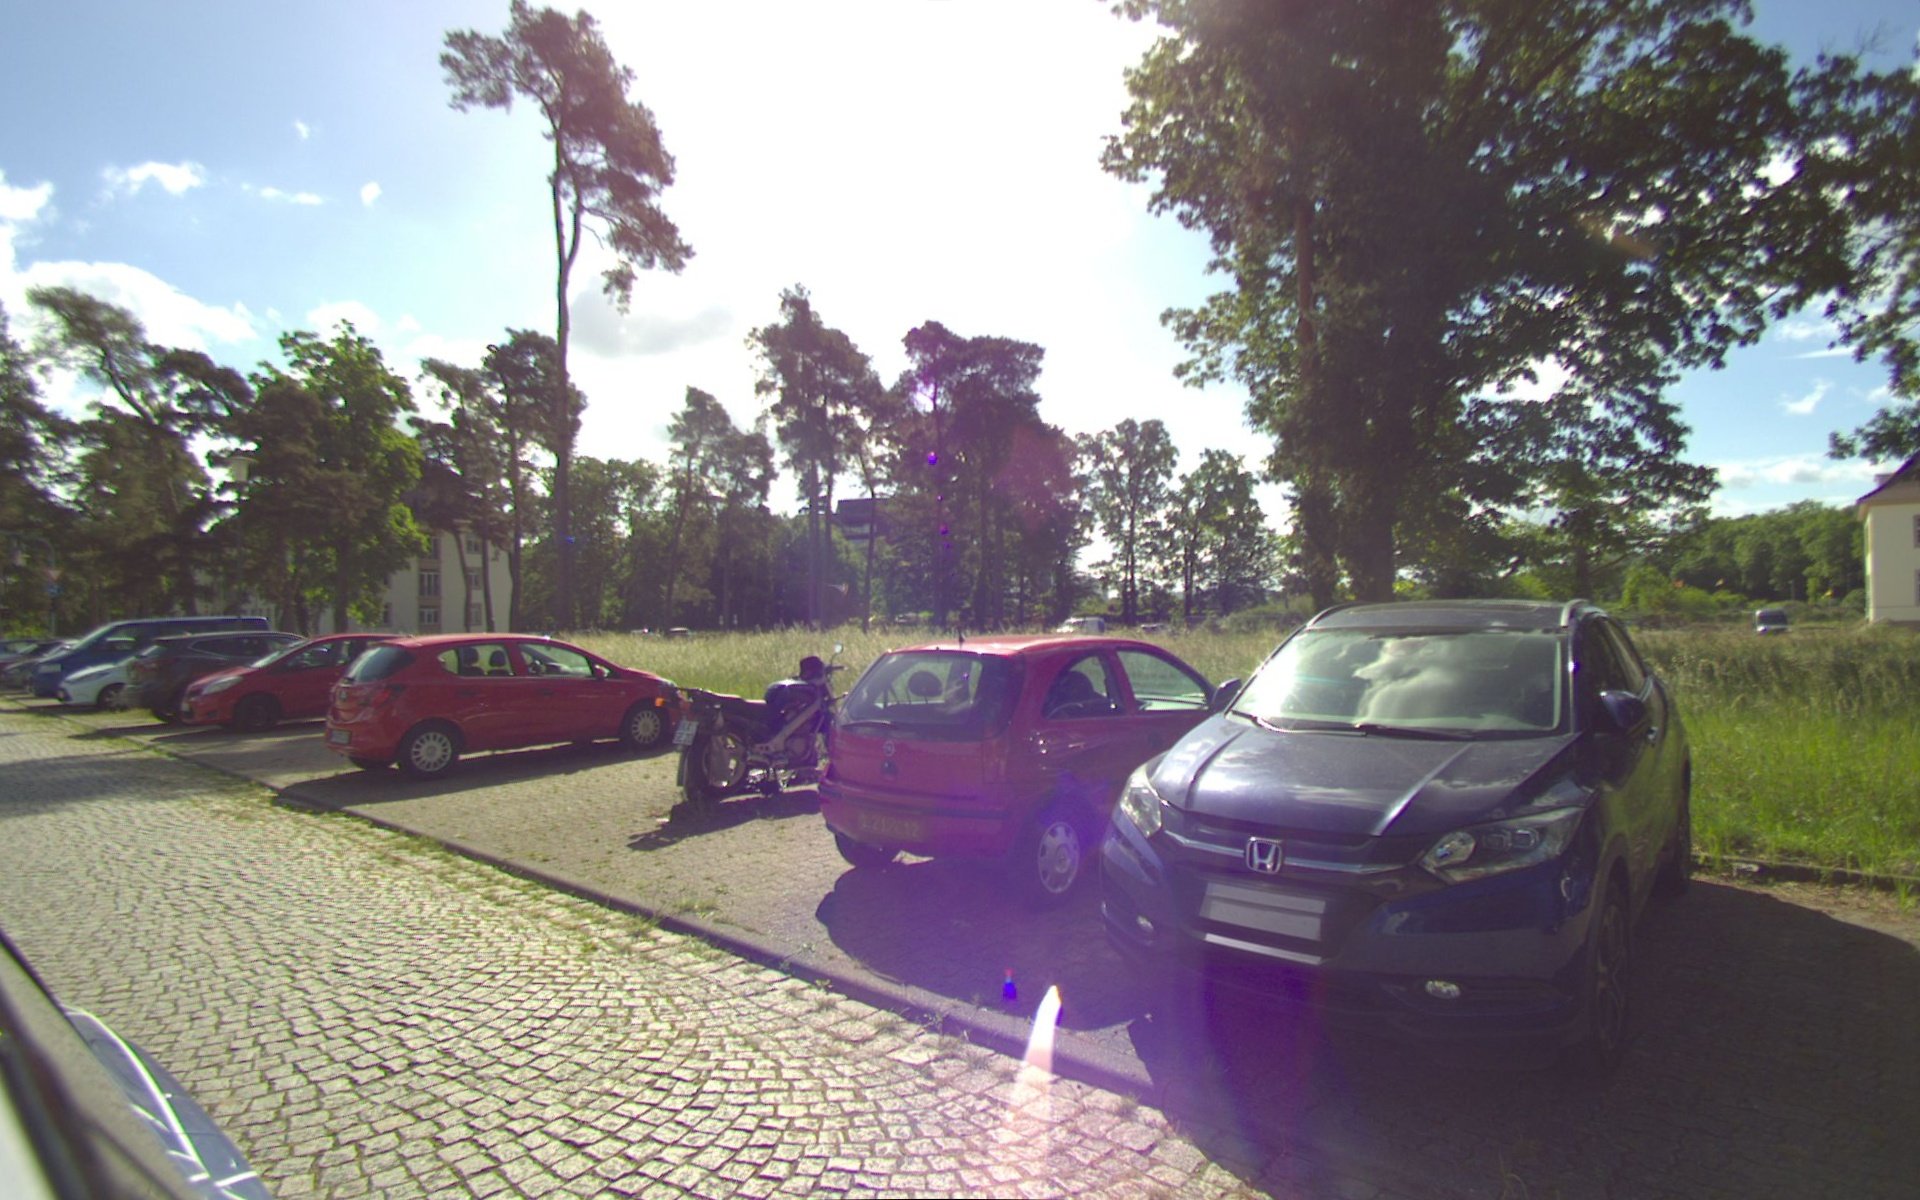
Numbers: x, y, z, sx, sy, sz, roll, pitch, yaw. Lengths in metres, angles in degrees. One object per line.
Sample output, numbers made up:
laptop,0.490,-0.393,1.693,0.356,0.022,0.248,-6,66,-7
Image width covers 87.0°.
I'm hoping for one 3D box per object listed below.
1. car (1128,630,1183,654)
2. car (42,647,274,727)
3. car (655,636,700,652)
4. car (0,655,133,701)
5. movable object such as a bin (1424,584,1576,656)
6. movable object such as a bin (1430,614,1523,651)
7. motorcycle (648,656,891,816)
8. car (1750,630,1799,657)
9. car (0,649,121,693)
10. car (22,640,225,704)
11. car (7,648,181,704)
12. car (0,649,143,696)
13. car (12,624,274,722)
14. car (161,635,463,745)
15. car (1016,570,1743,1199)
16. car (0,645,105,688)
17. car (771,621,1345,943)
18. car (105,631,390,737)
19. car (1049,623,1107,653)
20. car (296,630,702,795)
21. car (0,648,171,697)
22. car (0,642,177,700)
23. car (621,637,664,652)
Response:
car,13.932,2.975,72.103,1.912,1.617,4.182,-2,-3,43
car,-17.825,1.862,22.629,1.681,1.451,3.779,-2,-1,39
car,-28.614,4.441,102.532,1.841,1.642,4.001,-3,-3,43
car,-29.910,2.571,33.596,1.760,1.243,3.591,-1,0,43
movable object such as a bin,29.823,1.182,56.306,6.735,3.760,3.907,-1,-2,18
movable object such as a bin,31.426,2.007,61.776,2.491,2.142,5.682,0,-2,-3
motorcycle,-1.628,1.134,9.043,0.577,1.170,2.217,-2,-2,43
car,58.708,3.124,72.986,1.987,1.868,4.096,-2,-2,29
car,-35.226,2.708,38.711,1.982,1.463,4.537,-2,-1,38
car,-23.322,1.952,28.334,1.823,1.486,4.152,-3,-1,41
car,-27.532,2.376,32.266,1.822,1.463,4.032,-1,0,43
car,-33.117,2.642,36.996,1.938,1.431,4.813,-1,0,42
car,-19.629,1.657,24.491,2.005,1.983,4.668,-2,-1,41
car,-10.742,1.412,16.974,1.865,1.460,3.883,-3,-1,40
car,2.285,0.758,4.745,1.884,1.591,4.091,-3,-2,41
car,-37.067,2.664,40.583,1.947,1.494,3.986,-3,-2,40
car,0.875,0.912,6.792,1.842,1.444,3.880,-3,-2,43
car,-12.963,1.454,18.584,1.972,1.579,3.913,-3,-1,40
car,8.931,2.879,76.320,1.957,2.180,4.793,-2,-3,42
car,-5.196,1.161,11.790,1.840,1.472,3.883,-3,-2,40
car,-31.092,2.512,35.750,1.938,1.431,4.813,-2,-1,42
car,-25.815,2.047,29.861,1.923,1.436,4.032,-3,-1,43
car,-33.898,4.739,108.012,1.720,1.593,4.050,-2,-3,43
